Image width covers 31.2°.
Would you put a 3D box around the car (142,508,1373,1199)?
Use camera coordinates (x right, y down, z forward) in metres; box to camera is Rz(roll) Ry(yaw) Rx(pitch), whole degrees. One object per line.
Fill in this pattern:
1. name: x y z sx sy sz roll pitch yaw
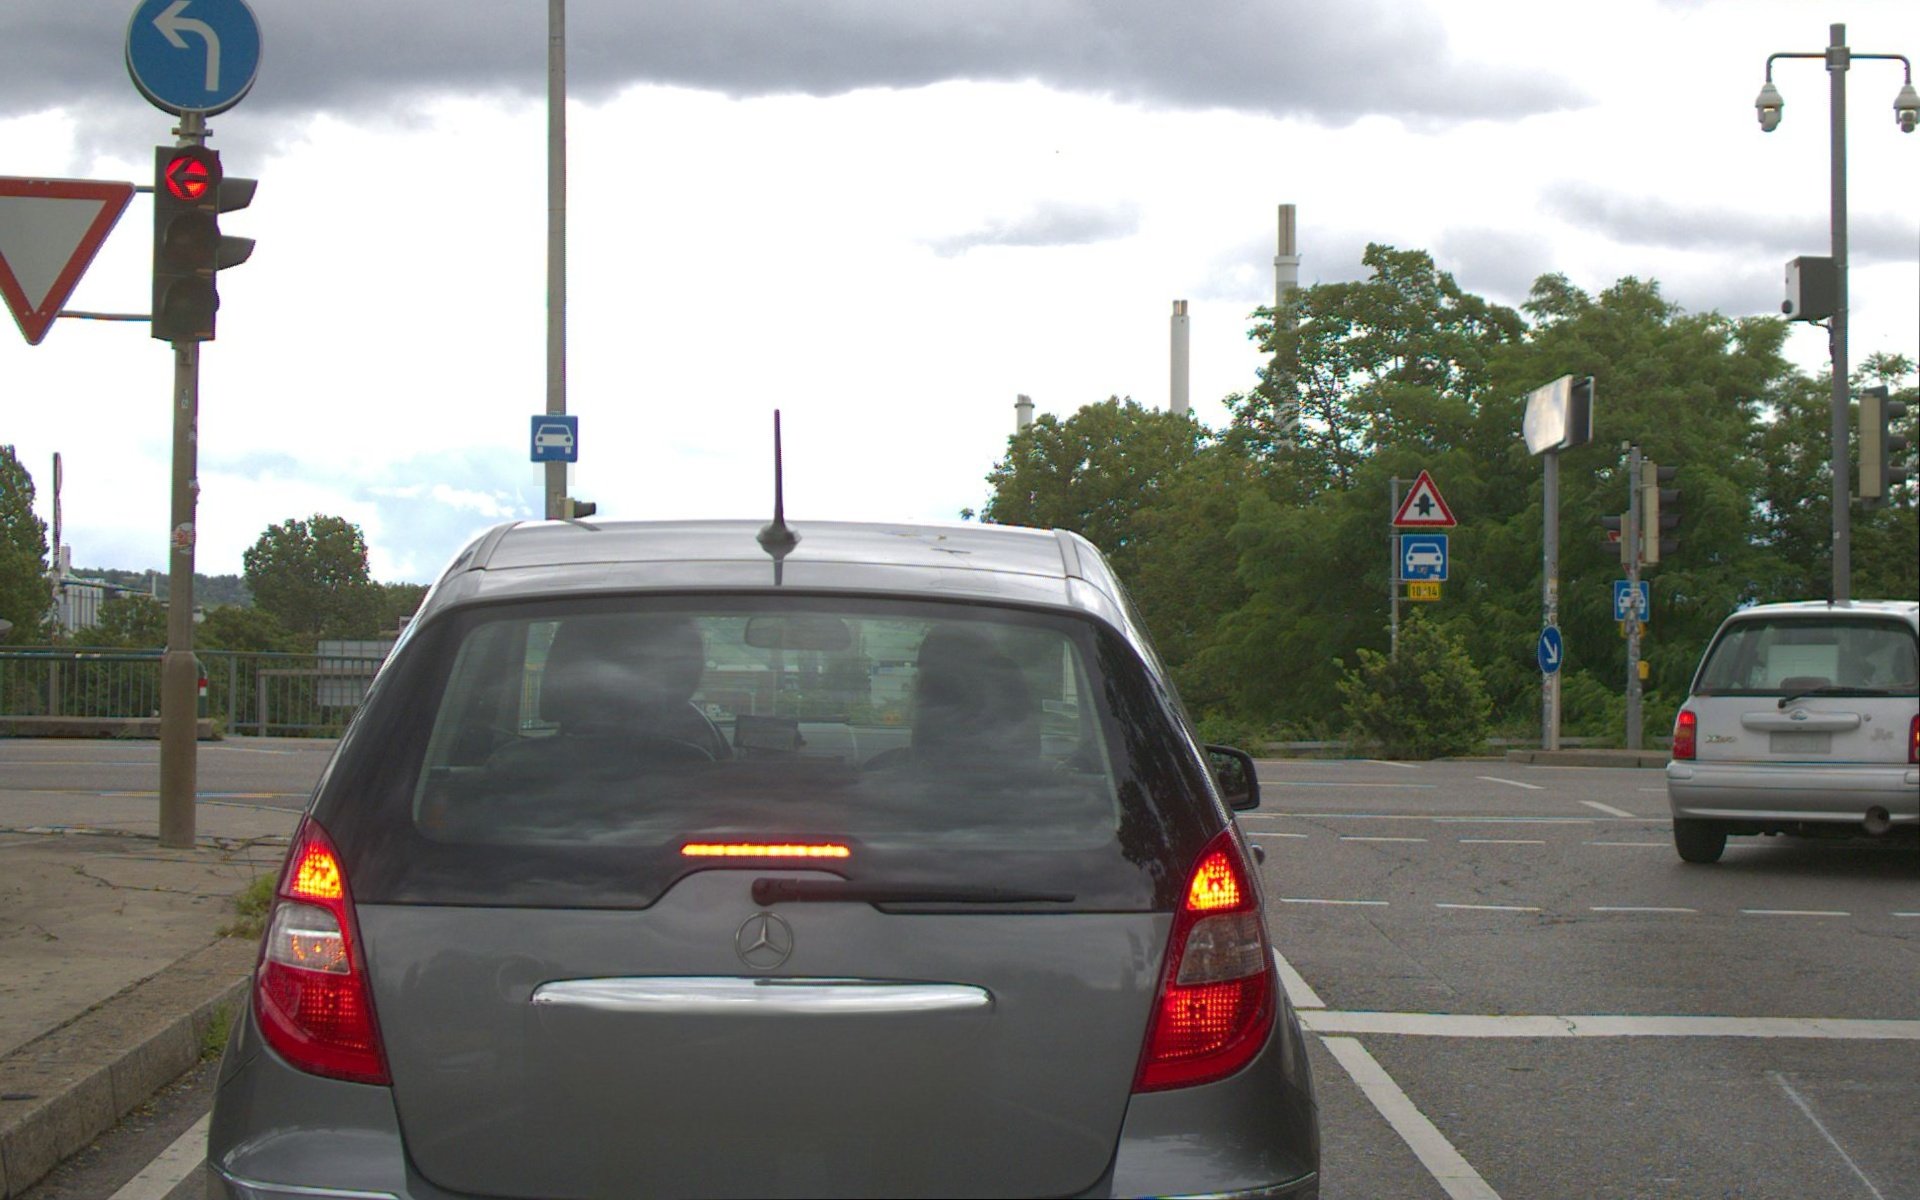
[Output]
1. car: -0.306 0.632 6.669 1.739 1.538 3.541 1 1 0

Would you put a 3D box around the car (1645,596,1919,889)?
1. car: 5.047 0.714 19.051 1.587 1.427 3.438 1 1 27
